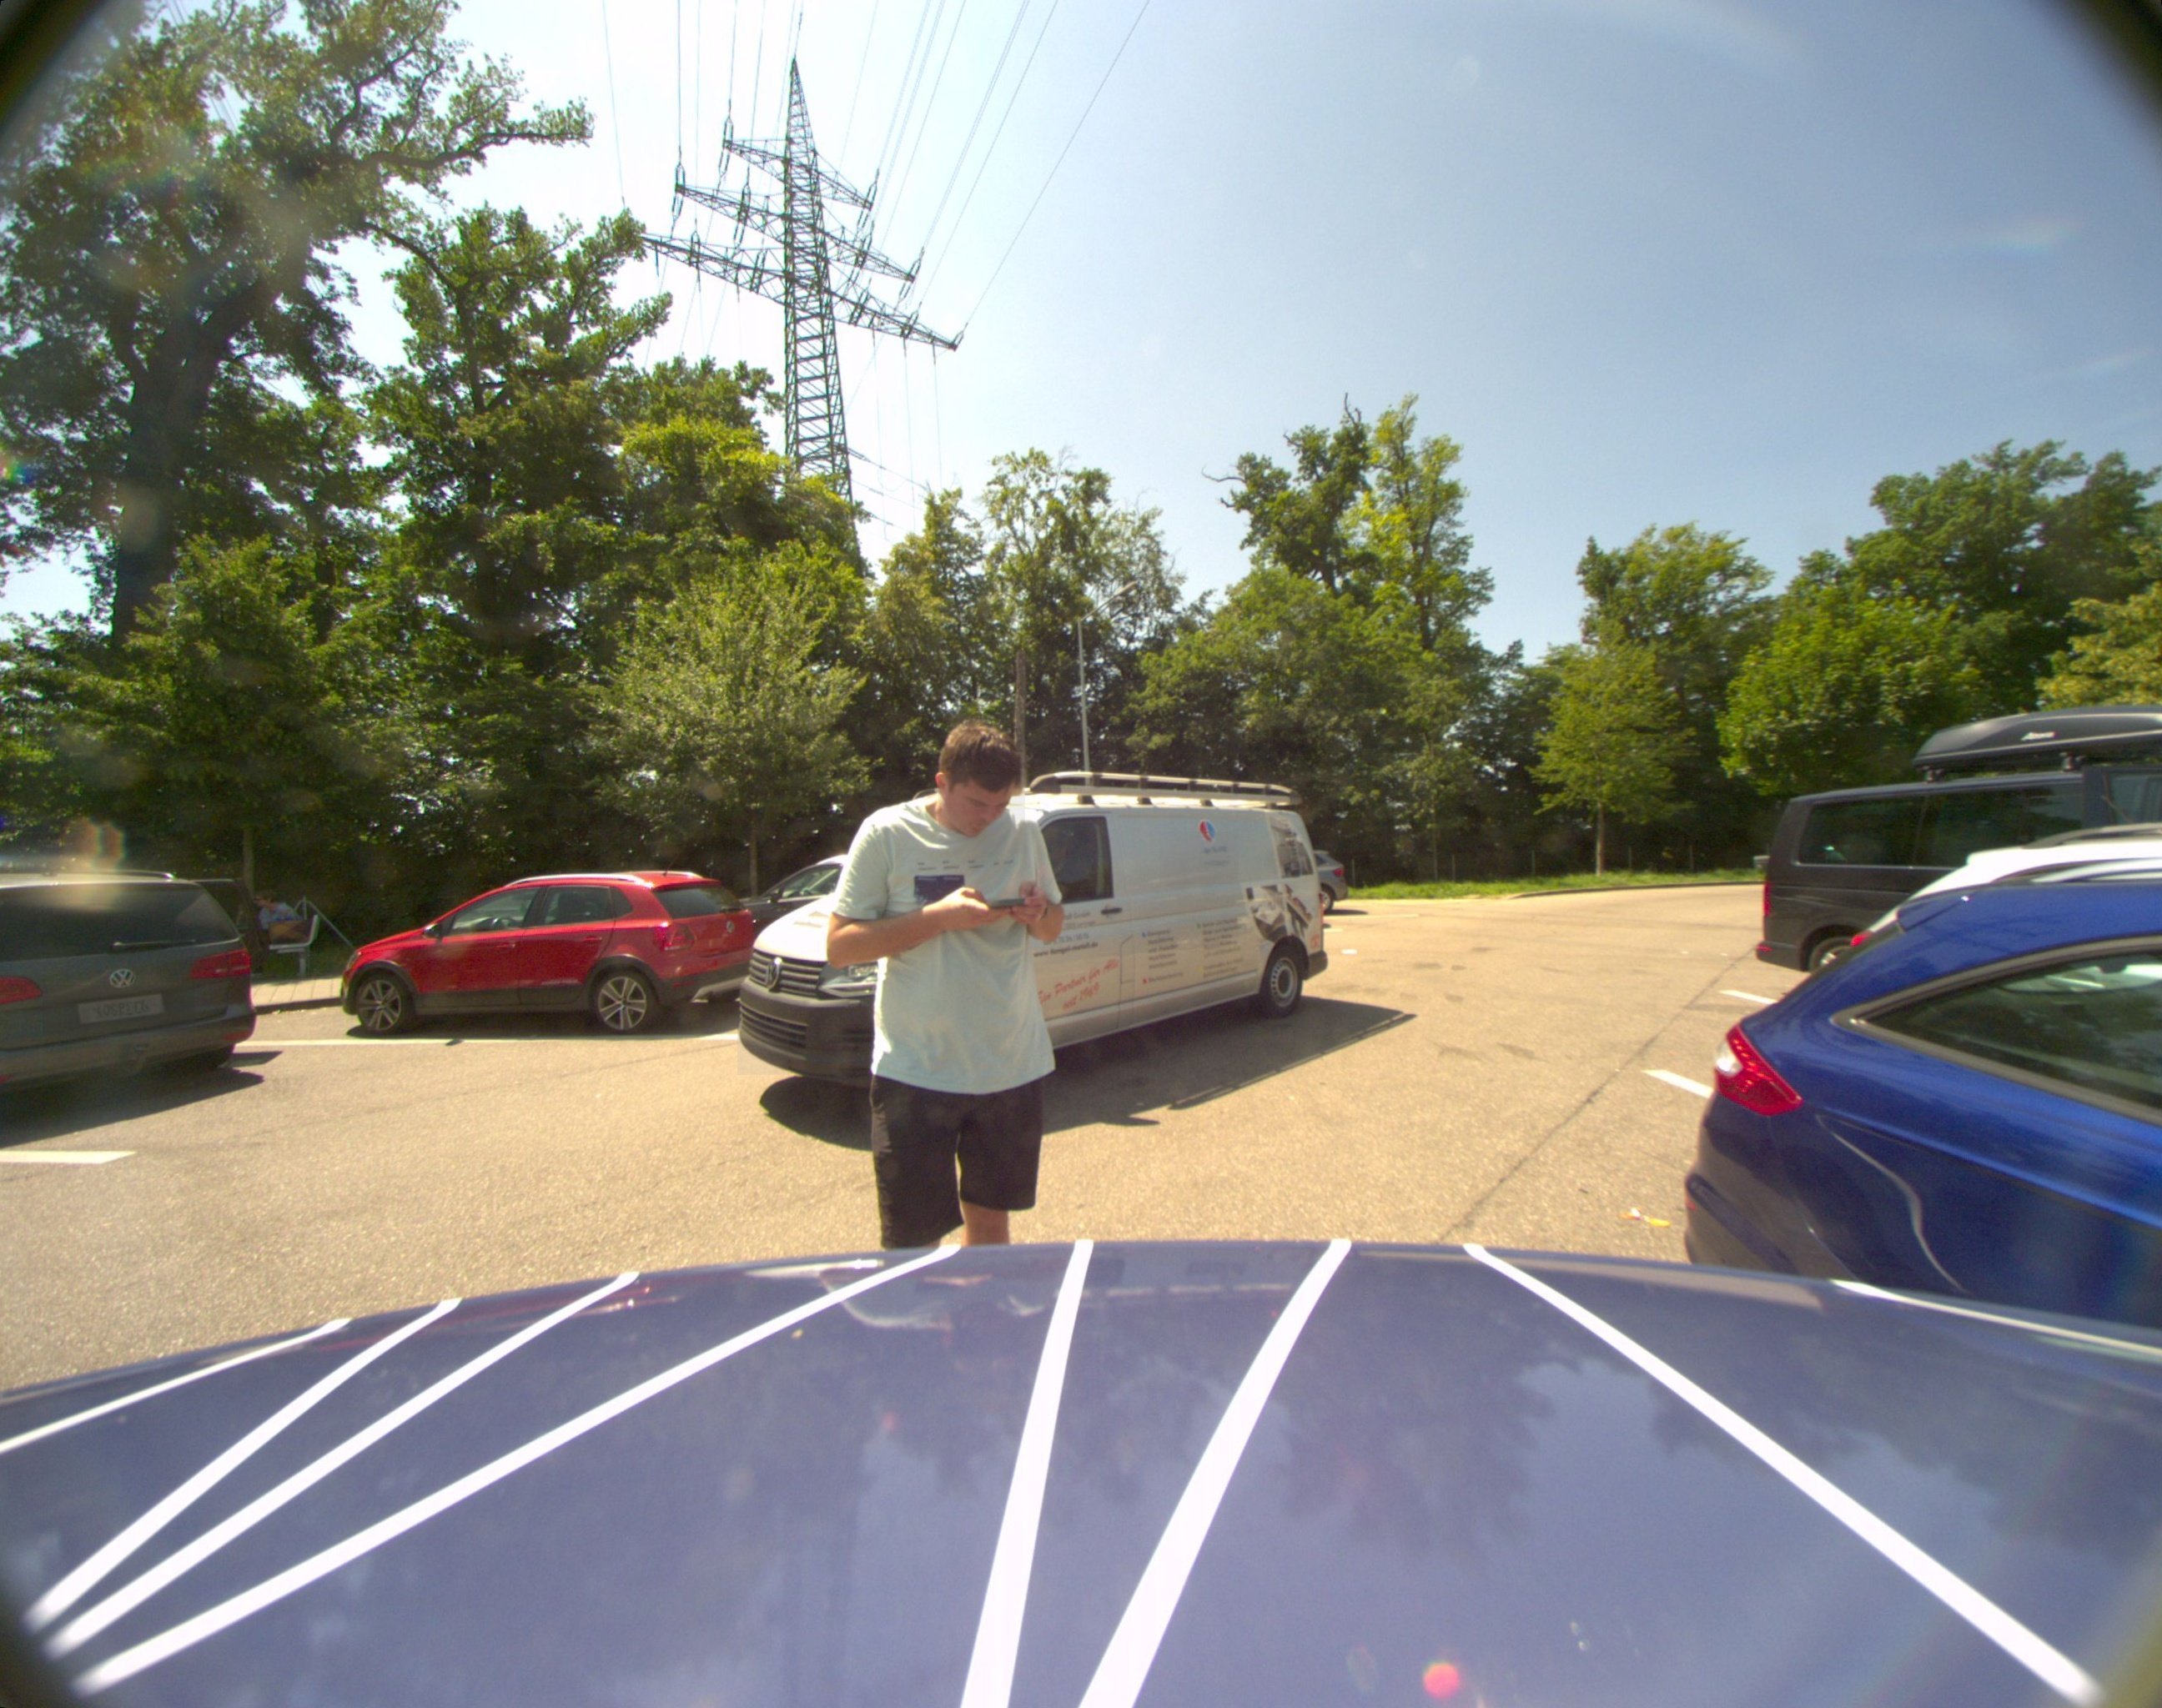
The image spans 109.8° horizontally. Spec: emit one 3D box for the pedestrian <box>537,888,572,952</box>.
[{"bbox_3d":[-10.088,1.260,14.560,0.366,1.186,0.356,-2,1,21],"label":"pedestrian"}]

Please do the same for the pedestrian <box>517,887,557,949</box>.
[{"bbox_3d":[-10.977,1.287,15.347,0.413,1.186,0.443,-2,1,12],"label":"pedestrian"}]

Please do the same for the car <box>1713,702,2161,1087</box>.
[{"bbox_3d":[7.270,0.233,5.446,1.788,2.304,4.084,-2,0,-5],"label":"car"}]

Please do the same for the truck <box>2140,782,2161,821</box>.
[{"bbox_3d":[40.278,-1.971,26.971,1.168,1.367,2.882,-2,-1,-19],"label":"truck"}]

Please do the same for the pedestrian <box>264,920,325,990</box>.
[{"bbox_3d":[-10.839,1.378,10.481,0.503,0.874,0.512,-2,0,-39],"label":"pedestrian"}]

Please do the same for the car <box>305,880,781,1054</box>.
[{"bbox_3d":[-5.242,1.071,7.666,3.745,1.458,1.621,-2,0,7],"label":"car"}]

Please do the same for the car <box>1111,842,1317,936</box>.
[{"bbox_3d":[2.597,0.681,15.423,3.850,1.678,1.755,-2,0,4],"label":"car"}]

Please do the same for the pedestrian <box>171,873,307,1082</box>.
[{"bbox_3d":[-7.348,1.040,6.648,0.481,1.712,0.589,-2,1,22],"label":"pedestrian"}]

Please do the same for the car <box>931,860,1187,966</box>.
[{"bbox_3d":[-0.274,0.892,12.173,3.773,1.445,1.848,-2,0,4],"label":"car"}]

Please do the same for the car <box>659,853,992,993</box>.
[{"bbox_3d":[-3.265,0.868,10.277,3.866,1.607,1.709,-2,0,0],"label":"car"}]

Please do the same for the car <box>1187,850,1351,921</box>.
[{"bbox_3d":[4.373,0.728,18.148,3.585,1.493,1.707,-2,1,8],"label":"car"}]

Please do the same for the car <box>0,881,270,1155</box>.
[{"bbox_3d":[-8.435,1.091,5.440,3.903,1.607,1.705,-2,1,11],"label":"car"}]

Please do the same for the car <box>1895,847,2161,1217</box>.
[{"bbox_3d":[4.685,0.655,2.183,1.344,1.352,3.114,-2,0,1],"label":"car"}]

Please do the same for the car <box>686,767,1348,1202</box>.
[{"bbox_3d":[0.034,0.592,6.217,5.445,2.092,1.839,-2,1,-45],"label":"car"}]

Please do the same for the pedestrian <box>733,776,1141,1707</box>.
[{"bbox_3d":[-0.366,0.764,1.864,0.741,1.818,0.613,-2,0,-34],"label":"pedestrian"}]
